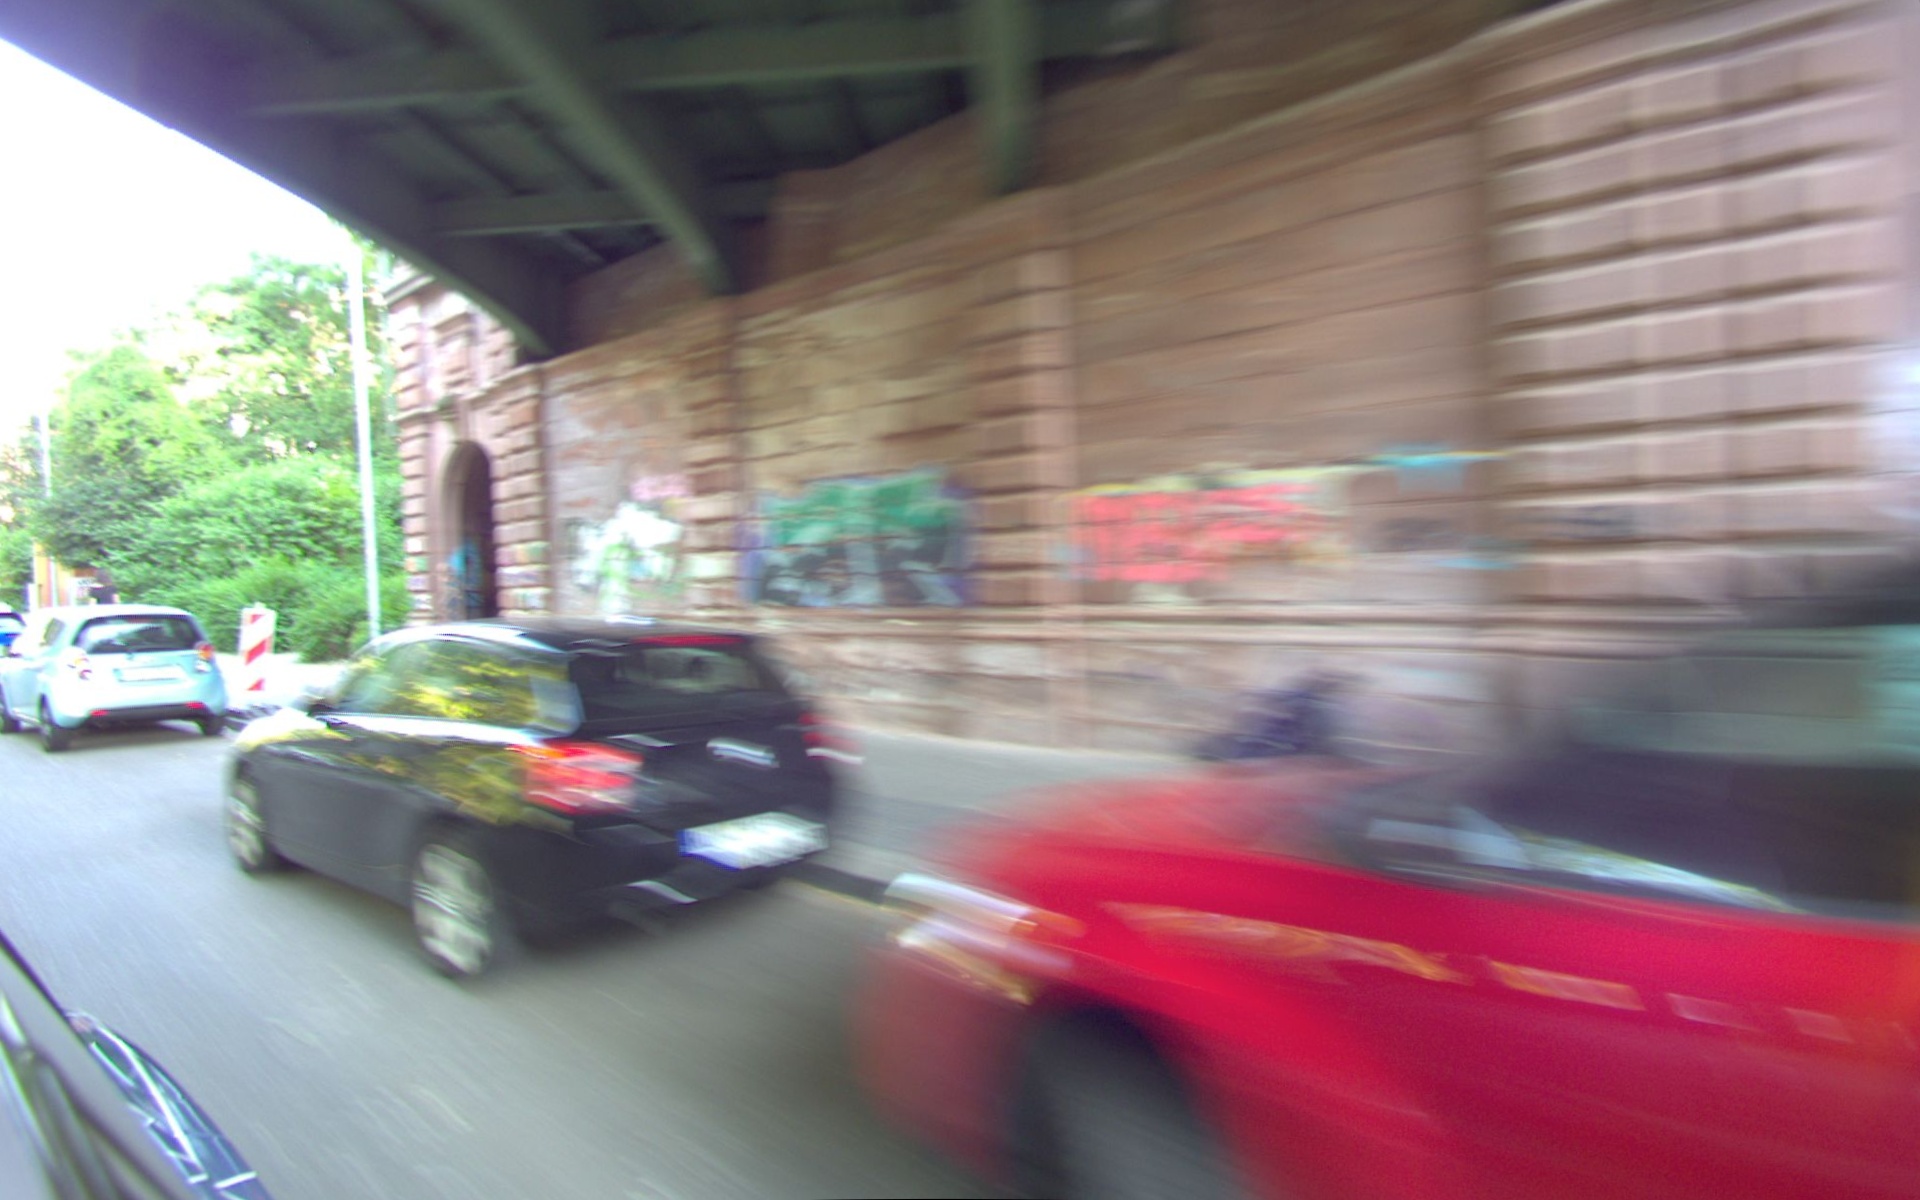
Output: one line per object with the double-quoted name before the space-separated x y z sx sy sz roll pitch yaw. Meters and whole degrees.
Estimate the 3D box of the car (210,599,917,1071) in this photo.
"car" -2.258 0.755 5.175 3.998 1.475 1.699 0 1 41

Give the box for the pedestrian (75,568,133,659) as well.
"pedestrian" -18.761 0.272 22.189 1.044 1.928 0.632 1 3 34

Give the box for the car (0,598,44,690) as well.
"car" -17.975 0.755 17.924 4.367 1.477 1.729 1 3 36

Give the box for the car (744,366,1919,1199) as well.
"car" 1.713 0.589 1.694 4.317 1.721 1.700 0 0 38

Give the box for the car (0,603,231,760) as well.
"car" -10.284 0.825 12.016 3.909 1.559 1.580 0 1 37
